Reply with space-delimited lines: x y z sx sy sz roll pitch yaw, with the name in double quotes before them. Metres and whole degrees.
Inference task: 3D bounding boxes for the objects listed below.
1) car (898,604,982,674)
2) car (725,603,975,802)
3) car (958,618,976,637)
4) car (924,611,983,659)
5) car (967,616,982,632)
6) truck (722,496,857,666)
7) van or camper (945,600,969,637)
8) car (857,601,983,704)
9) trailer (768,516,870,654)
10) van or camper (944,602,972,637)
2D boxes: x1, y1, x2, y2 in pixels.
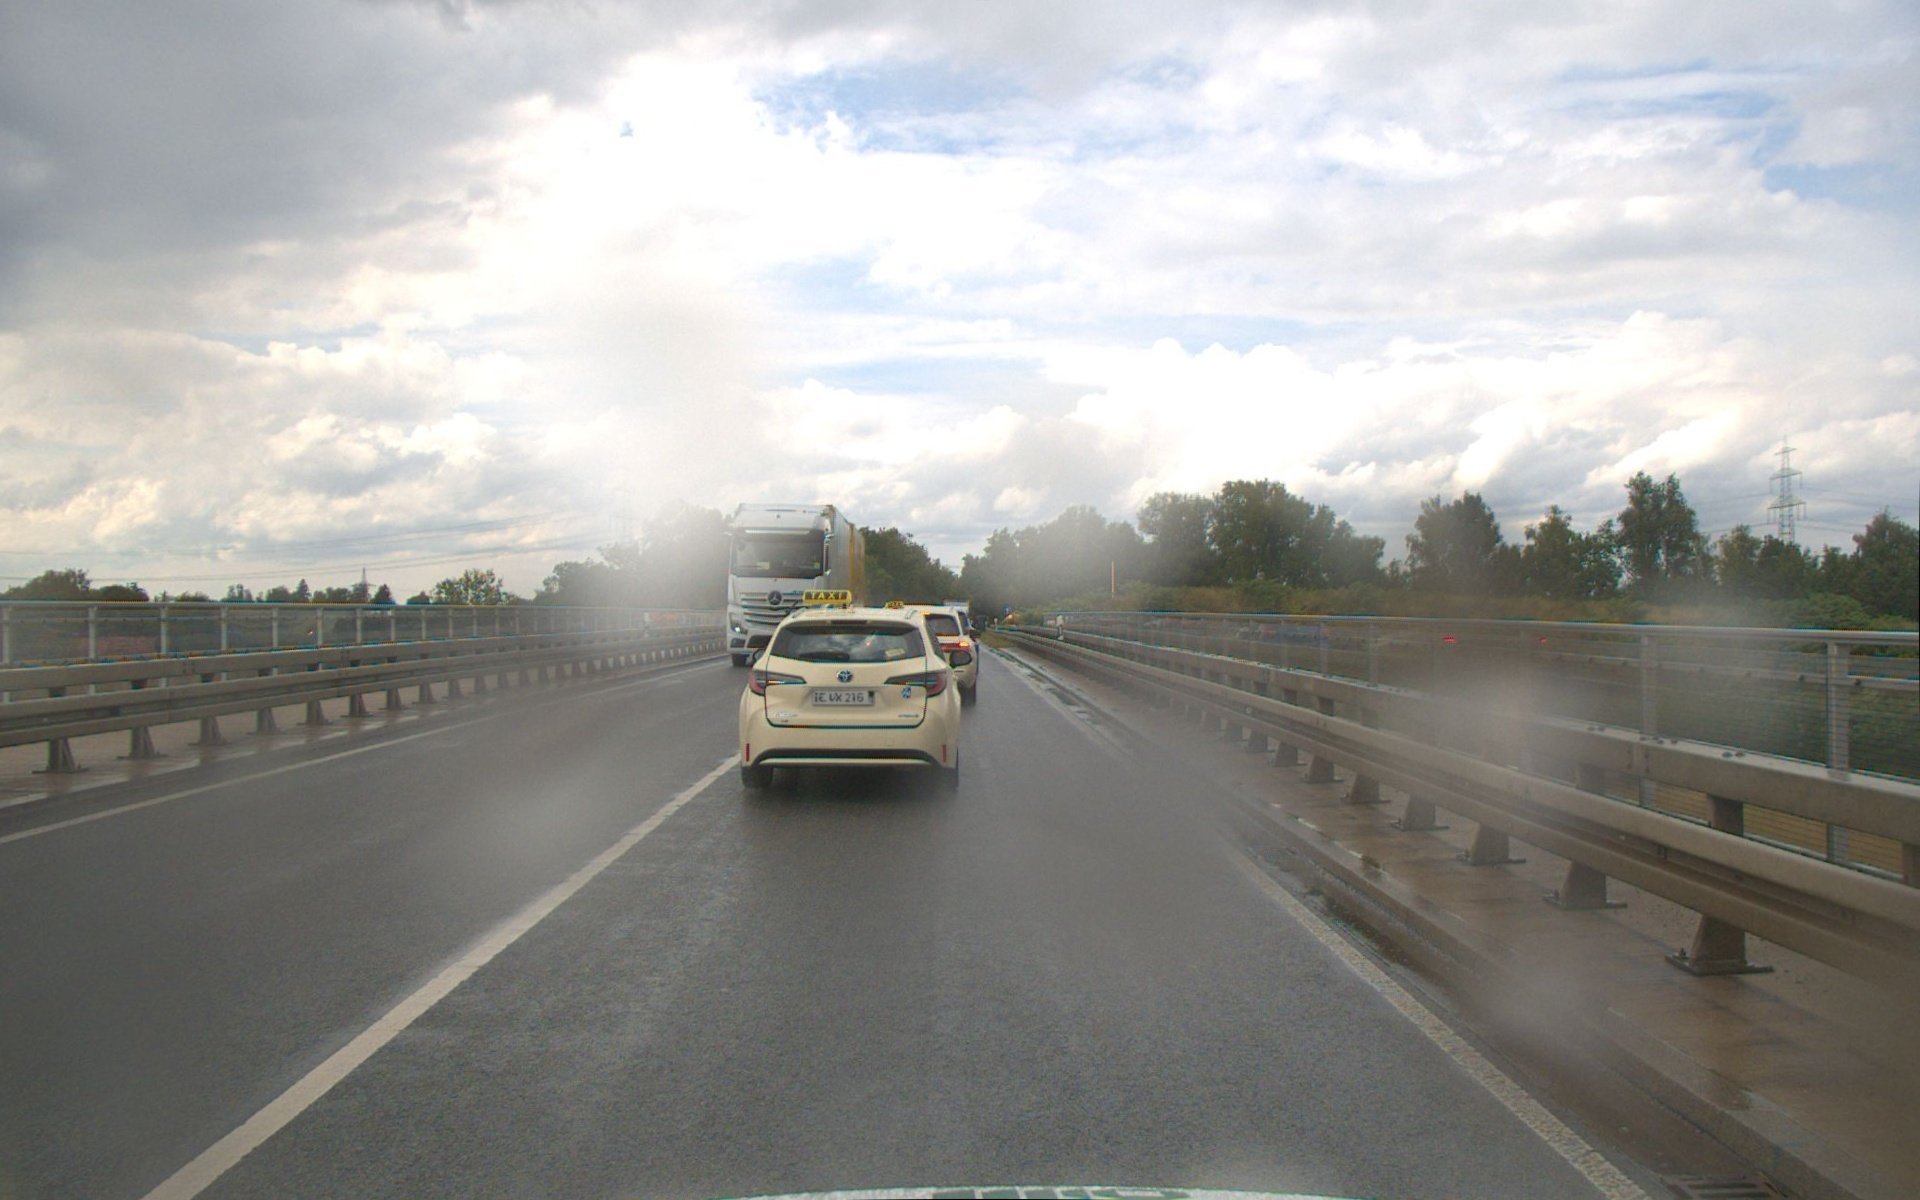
"car" -0.456 0.861 38.256 1.816 1.468 4.170 1 0 -1
"car" -0.832 0.759 14.251 1.816 1.418 4.170 1 0 -1
"car" 0.813 3.148 189.926 1.953 2.049 3.999 1 -1 -1
"car" -0.227 1.108 53.864 1.816 1.468 4.170 1 0 -1
"car" 1.912 3.193 220.524 1.953 2.049 3.999 1 -1 -1
"truck" -4.435 -0.457 45.006 2.628 4.087 10.053 1 0 0
"van or camper" -0.291 1.851 164.938 2.285 3.625 6.305 1 -1 -1
"car" -0.606 0.770 26.236 1.816 1.468 4.170 1 0 -1
"trailer" -4.504 -0.439 54.281 2.628 4.146 8.484 1 0 0
"van or camper" -0.208 1.675 141.955 2.285 2.914 6.305 1 0 -1
